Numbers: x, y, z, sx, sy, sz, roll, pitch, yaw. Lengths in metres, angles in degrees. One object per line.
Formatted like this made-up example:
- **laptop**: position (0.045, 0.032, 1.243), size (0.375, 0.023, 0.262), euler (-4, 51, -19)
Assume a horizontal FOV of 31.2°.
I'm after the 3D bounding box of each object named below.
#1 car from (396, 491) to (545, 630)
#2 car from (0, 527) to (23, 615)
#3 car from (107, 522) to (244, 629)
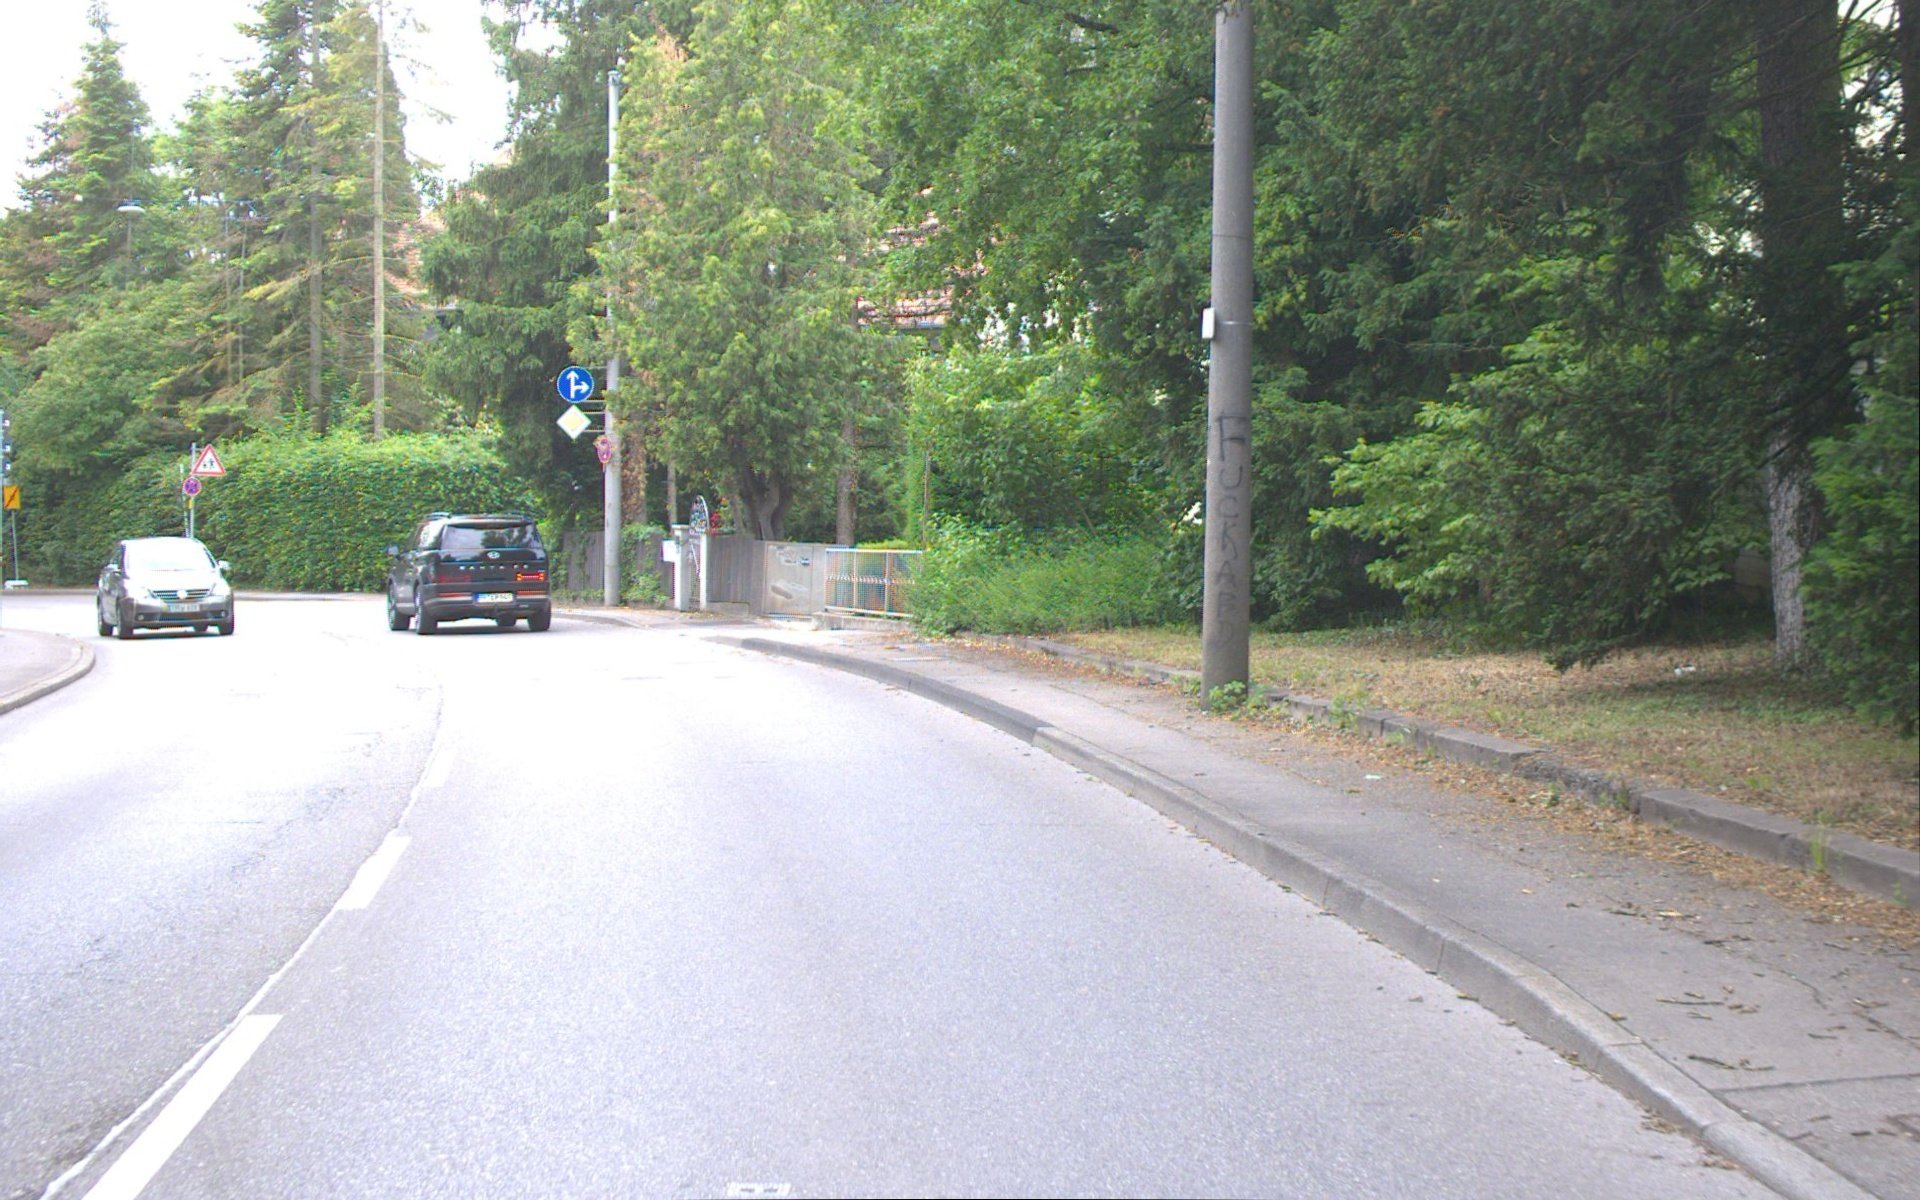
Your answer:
- **car**: position (-7.239, -0.616, 50.543), size (1.993, 1.875, 4.002), euler (1, 2, -10)
- **car**: position (-17.272, -0.491, 59.423), size (1.902, 1.449, 3.798), euler (-3, 2, -17)
- **car**: position (-12.411, -0.424, 54.246), size (1.993, 1.612, 4.001), euler (-1, 1, -14)
